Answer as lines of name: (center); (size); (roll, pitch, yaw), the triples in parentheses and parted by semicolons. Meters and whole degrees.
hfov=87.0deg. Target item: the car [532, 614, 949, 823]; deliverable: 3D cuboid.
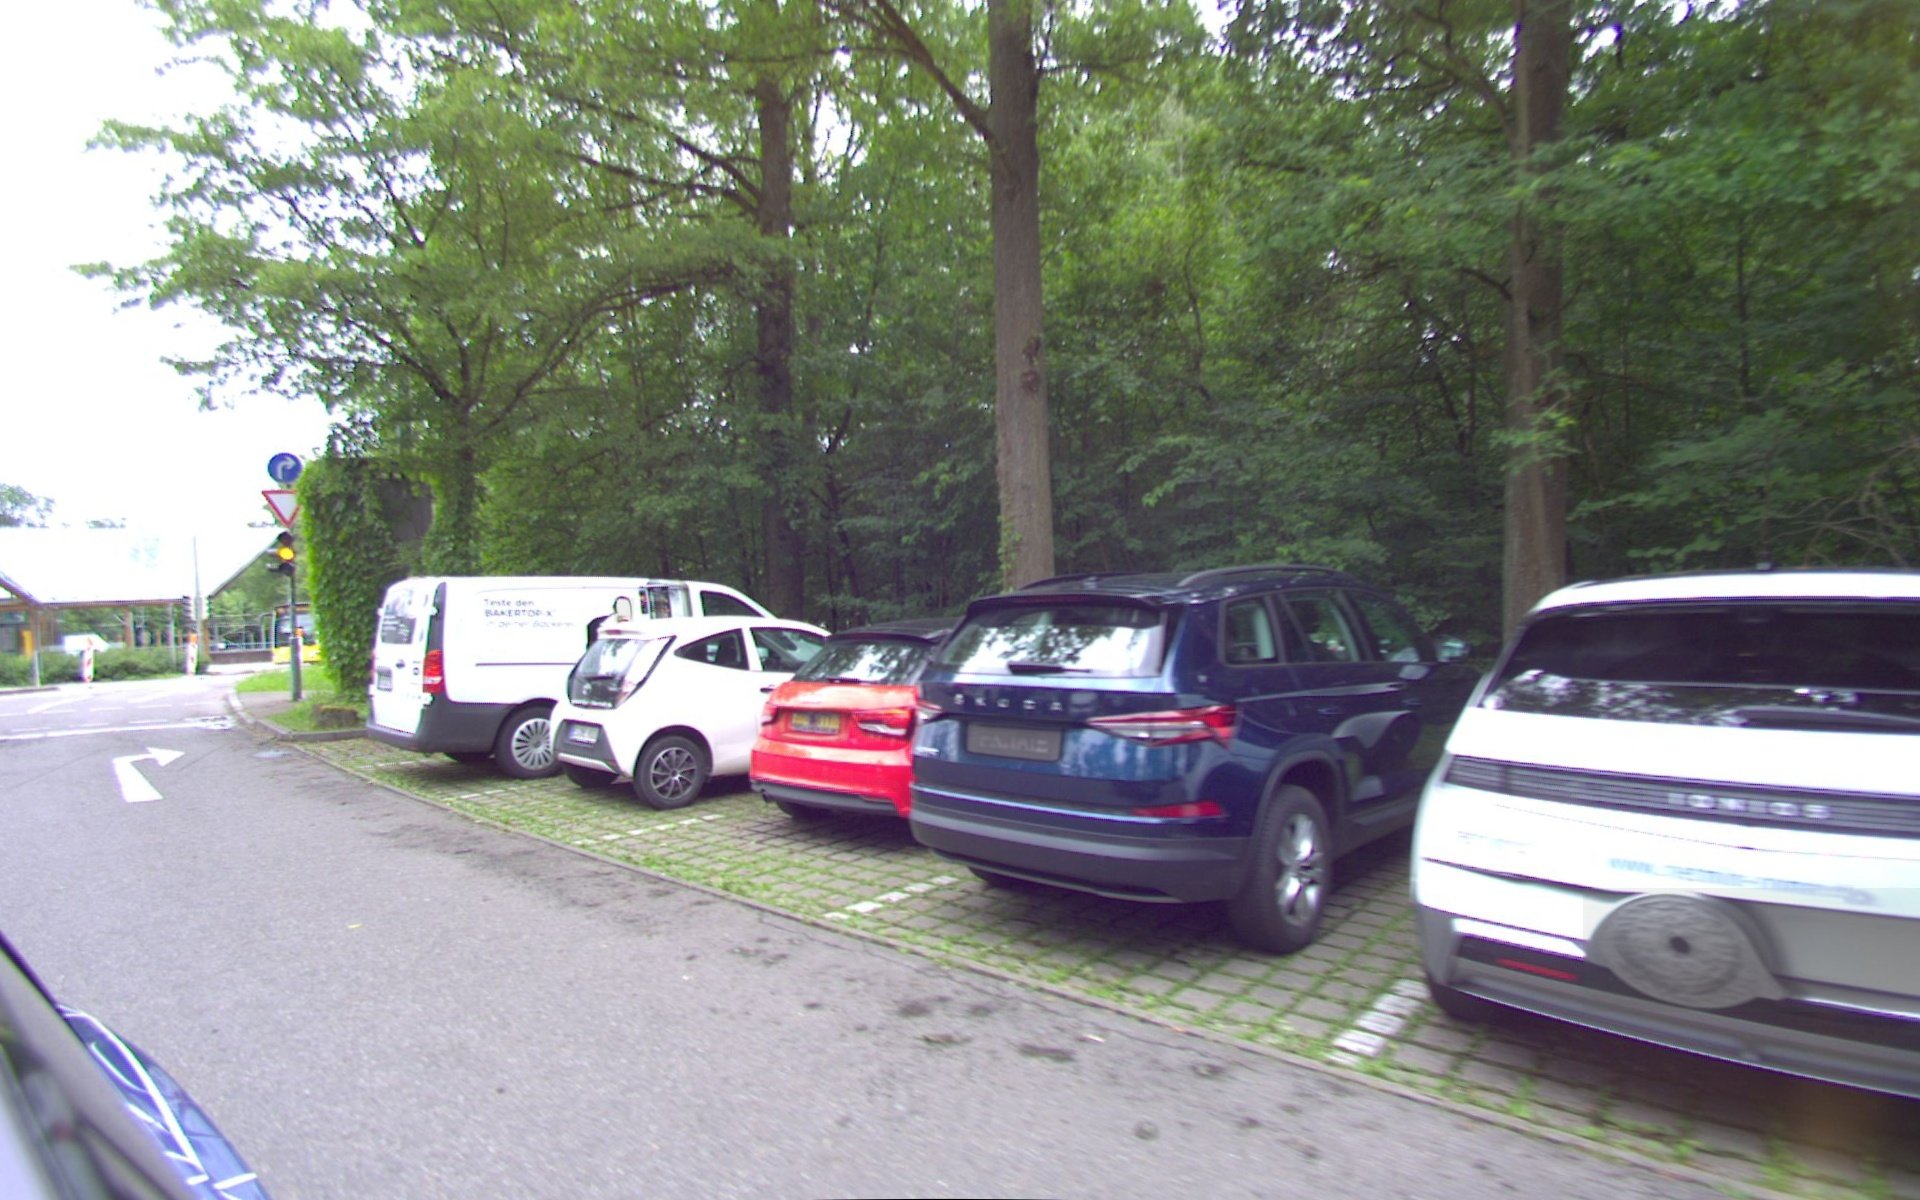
car: (-1.838, 0.897, 8.903); (3.187, 1.478, 1.657); (1, -3, -43)

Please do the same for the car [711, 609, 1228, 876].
car: (0.294, 0.823, 7.712); (1.822, 1.456, 3.946); (-2, -1, 41)

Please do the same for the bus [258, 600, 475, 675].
bus: (-28.761, 1.706, 49.903); (2.783, 3.183, 10.477); (-4, -1, 12)

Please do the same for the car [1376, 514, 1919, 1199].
car: (3.451, 0.600, 4.025); (2.030, 1.610, 4.309); (-2, -1, 41)

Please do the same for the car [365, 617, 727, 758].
car: (-5.195, 1.005, 13.044); (1.723, 1.389, 3.942); (-3, -1, 45)

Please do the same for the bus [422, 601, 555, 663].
bus: (-27.220, 1.781, 58.927); (2.784, 3.183, 7.724); (-4, -1, 13)

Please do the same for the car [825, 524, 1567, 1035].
car: (1.650, 0.587, 5.741); (2.171, 1.707, 4.377); (-3, -1, 43)

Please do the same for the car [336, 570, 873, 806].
car: (-3.514, 0.725, 10.780); (5.027, 1.930, 1.979); (-1, -1, -45)
